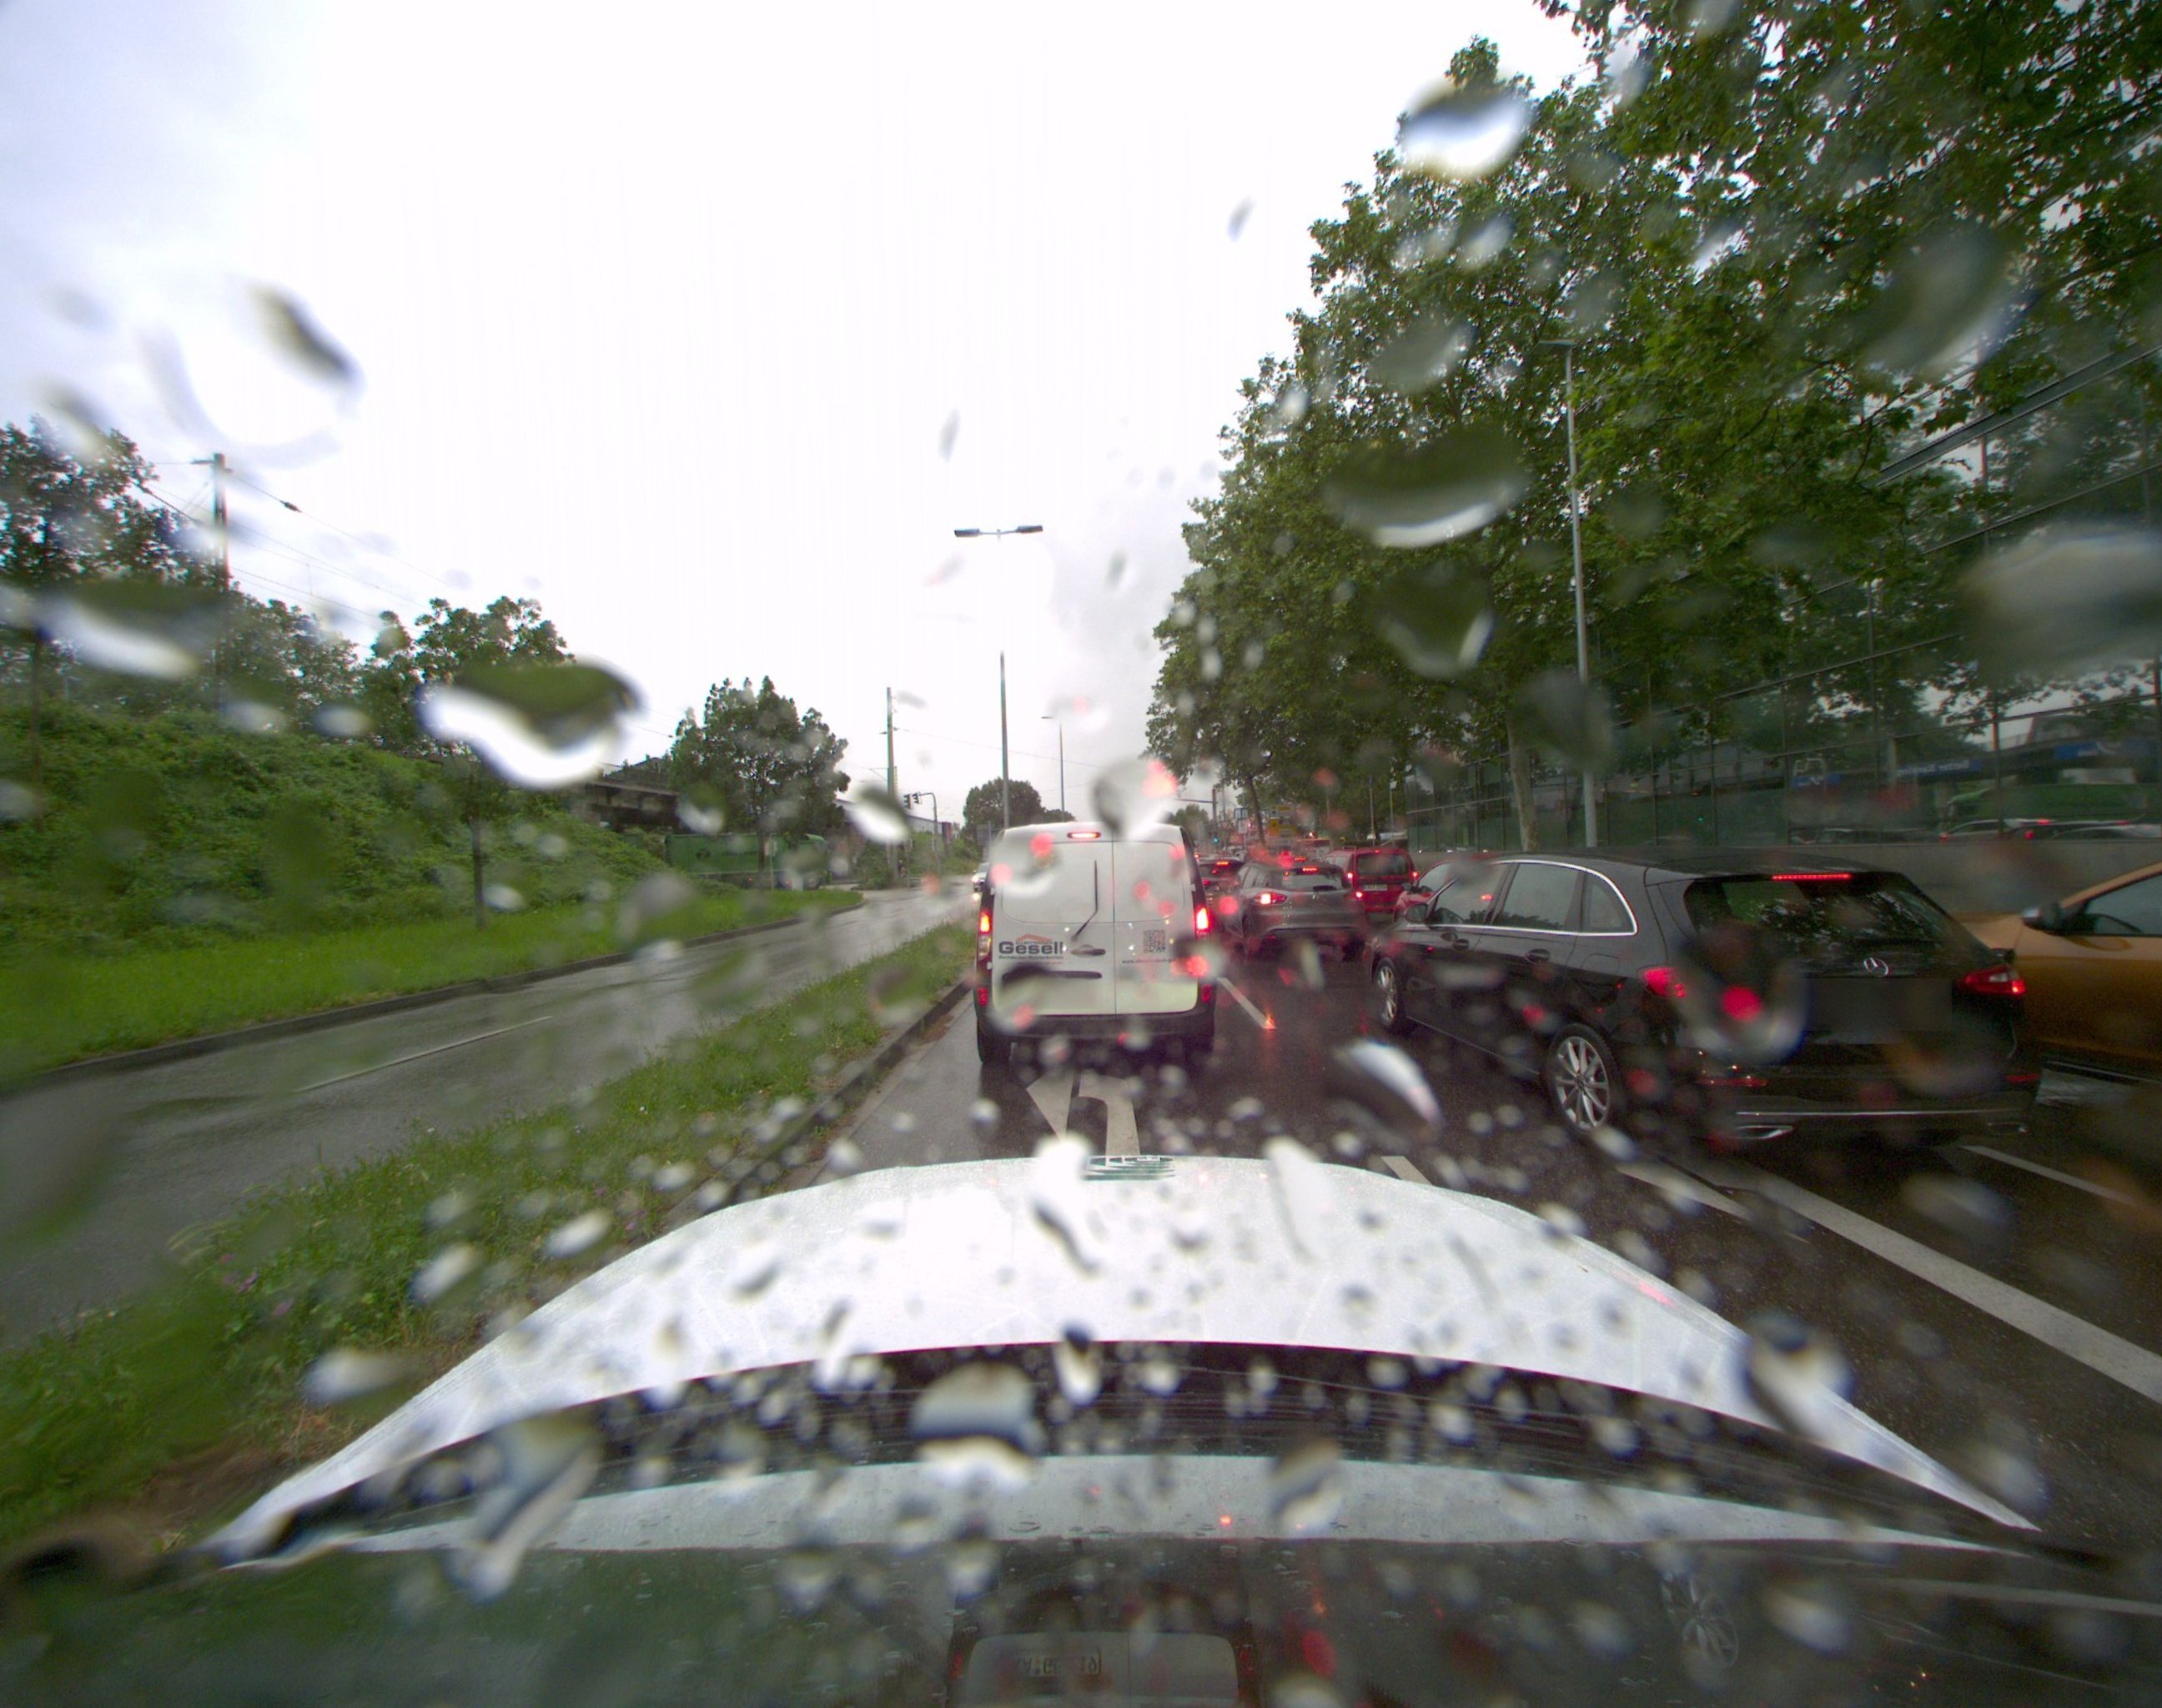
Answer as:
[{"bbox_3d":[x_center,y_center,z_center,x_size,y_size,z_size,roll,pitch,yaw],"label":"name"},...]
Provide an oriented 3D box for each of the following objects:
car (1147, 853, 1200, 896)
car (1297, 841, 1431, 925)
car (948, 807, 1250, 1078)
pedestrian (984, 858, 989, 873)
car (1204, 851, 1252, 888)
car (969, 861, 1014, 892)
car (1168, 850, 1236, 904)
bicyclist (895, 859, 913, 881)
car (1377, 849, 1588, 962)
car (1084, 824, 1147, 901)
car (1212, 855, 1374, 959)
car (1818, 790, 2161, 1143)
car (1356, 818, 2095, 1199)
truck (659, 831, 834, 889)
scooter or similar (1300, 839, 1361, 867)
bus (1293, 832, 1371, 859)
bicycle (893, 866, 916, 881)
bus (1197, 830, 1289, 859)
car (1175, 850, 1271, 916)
[{"bbox_3d":[3.751,0.813,33.566,1.847,1.650,3.844,-1,-1,2],"label":"car"},{"bbox_3d":[6.307,0.615,18.670,1.704,1.694,4.273,0,-1,2],"label":"car"},{"bbox_3d":[0.192,0.587,7.763,1.986,1.776,4.587,-1,0,2],"label":"car"},{"bbox_3d":[-11.249,1.370,96.551,0.541,1.716,0.563,0,-1,-2],"label":"pedestrian"},{"bbox_3d":[6.902,0.710,38.605,1.702,1.650,3.844,-1,-1,2],"label":"car"},{"bbox_3d":[-4.820,1.198,44.224,1.810,1.462,4.001,-4,0,1],"label":"car"},{"bbox_3d":[4.057,0.727,27.892,1.847,1.649,3.844,-1,0,2],"label":"car"},{"bbox_3d":[-12.152,1.085,55.999,1.045,1.450,0.723,-2,0,-23],"label":"bicyclist"},{"bbox_3d":[5.894,0.673,12.397,1.563,1.462,3.390,-1,0,1],"label":"car"},{"bbox_3d":[1.095,0.248,26.515,1.847,2.296,3.844,-1,0,2],"label":"car"},{"bbox_3d":[3.237,0.736,13.143,1.677,1.408,3.844,0,0,1],"label":"car"},{"bbox_3d":[5.996,0.544,3.683,1.668,1.685,4.149,0,1,2],"label":"car"},{"bbox_3d":[3.375,0.645,5.441,1.741,1.554,4.091,-1,0,1],"label":"car"},{"bbox_3d":[-21.290,0.302,52.362,10.105,3.371,2.322,-2,0,-35],"label":"truck"},{"bbox_3d":[23.443,-0.078,76.678,1.905,2.446,5.257,-1,0,-39],"label":"scooter or similar"},{"bbox_3d":[36.574,-1.305,118.373,12.025,3.423,2.463,-3,0,-24],"label":"bus"},{"bbox_3d":[-12.146,1.334,56.007,1.045,0.952,2.866,-2,0,-22],"label":"bicycle"},{"bbox_3d":[21.883,-1.349,110.583,11.926,3.423,2.316,-2,0,1],"label":"bus"},{"bbox_3d":[3.499,0.665,20.673,1.847,1.460,3.844,-1,0,2],"label":"car"}]
